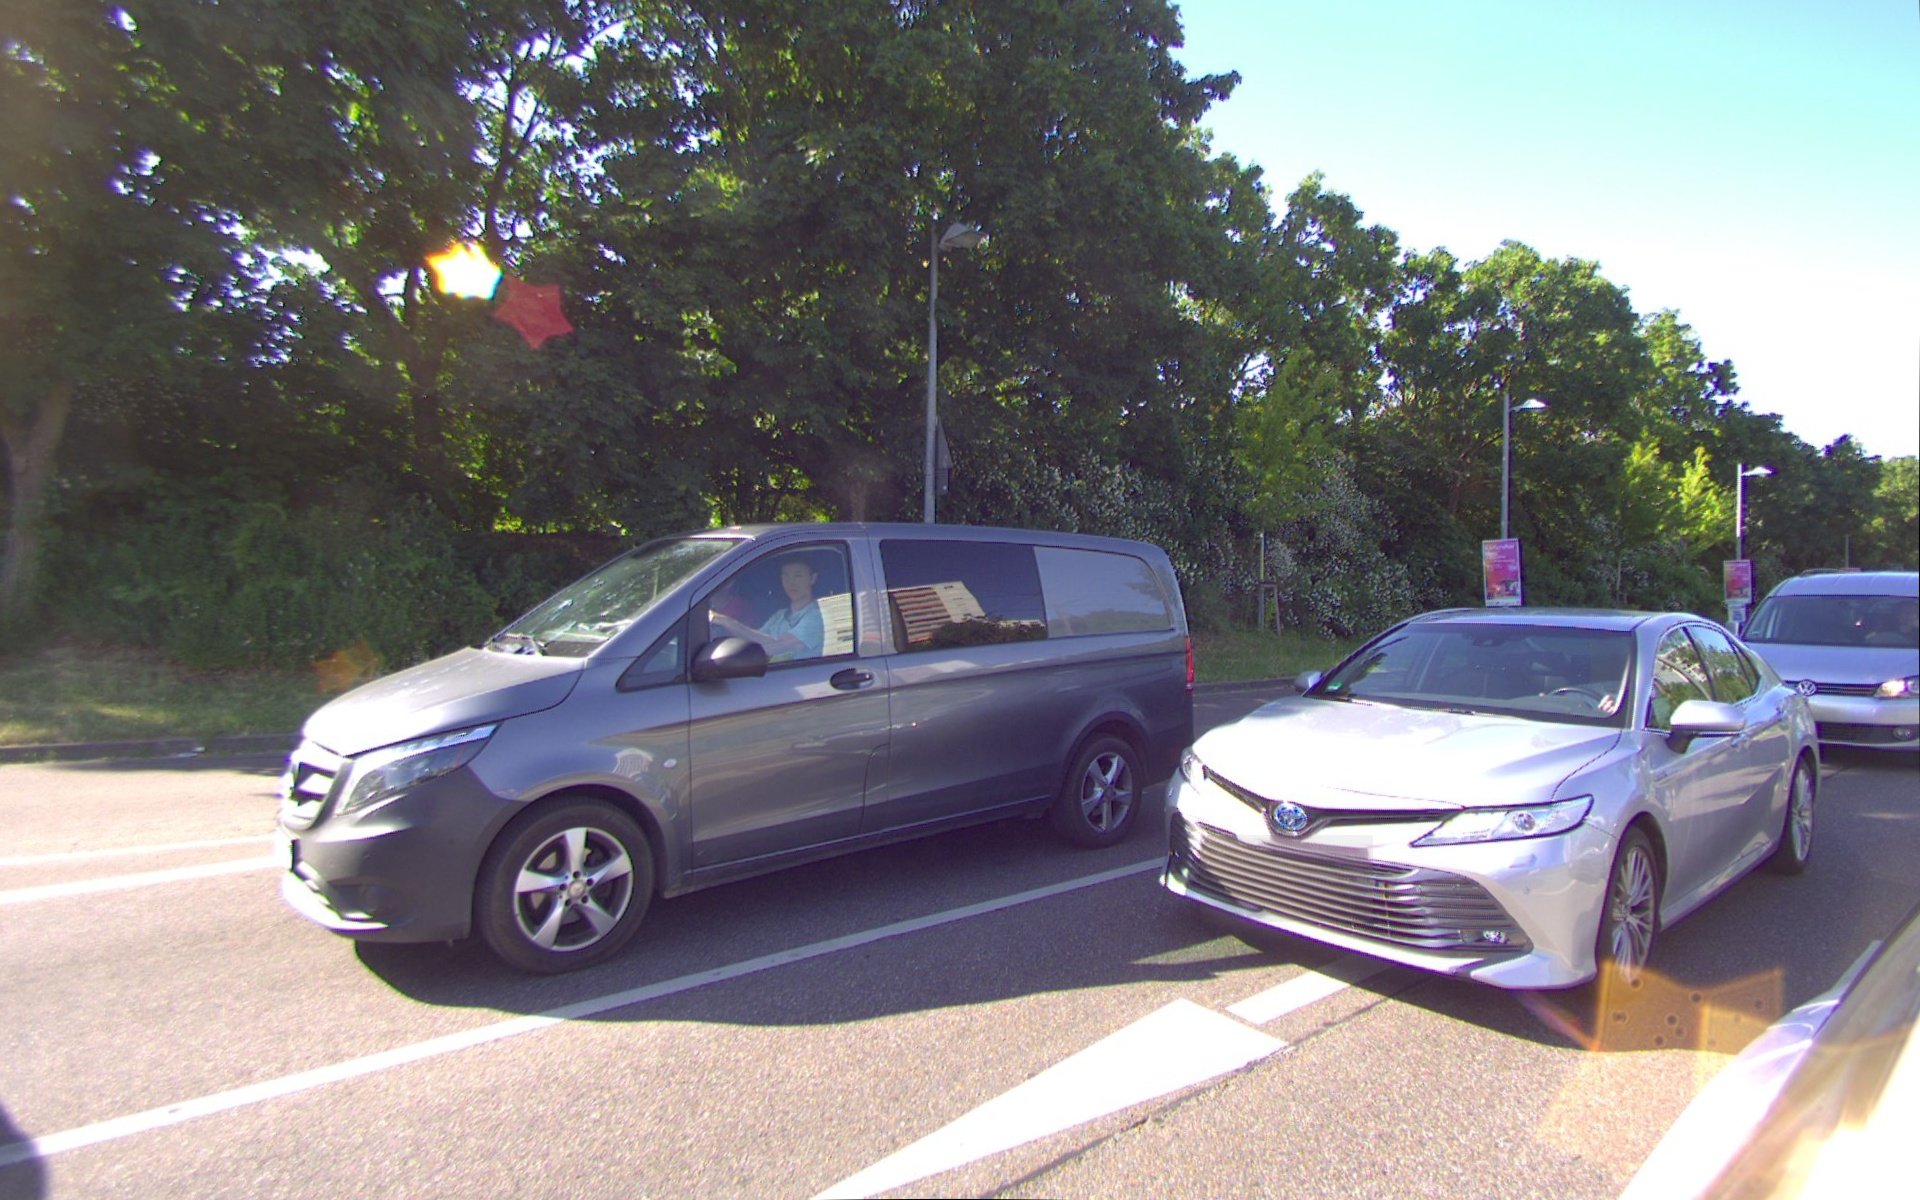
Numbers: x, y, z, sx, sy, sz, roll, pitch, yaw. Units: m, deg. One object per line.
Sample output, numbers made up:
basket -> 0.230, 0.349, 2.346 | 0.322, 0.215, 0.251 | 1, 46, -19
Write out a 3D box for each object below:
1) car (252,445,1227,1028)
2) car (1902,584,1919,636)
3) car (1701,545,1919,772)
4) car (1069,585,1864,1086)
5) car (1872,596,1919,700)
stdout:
car -> -0.839, 0.416, 5.731 | 5.056, 1.917, 1.998 | 0, 1, -40
car -> 32.289, 0.316, 33.044 | 4.307, 1.627, 1.776 | 0, 1, -41
car -> 9.502, 0.469, 10.544 | 4.540, 1.928, 1.822 | 0, 1, -40
car -> 2.949, 0.693, 5.352 | 4.664, 1.477, 2.069 | 0, 2, -40
car -> 14.972, 0.672, 14.868 | 3.995, 1.421, 1.776 | 0, 2, -40
